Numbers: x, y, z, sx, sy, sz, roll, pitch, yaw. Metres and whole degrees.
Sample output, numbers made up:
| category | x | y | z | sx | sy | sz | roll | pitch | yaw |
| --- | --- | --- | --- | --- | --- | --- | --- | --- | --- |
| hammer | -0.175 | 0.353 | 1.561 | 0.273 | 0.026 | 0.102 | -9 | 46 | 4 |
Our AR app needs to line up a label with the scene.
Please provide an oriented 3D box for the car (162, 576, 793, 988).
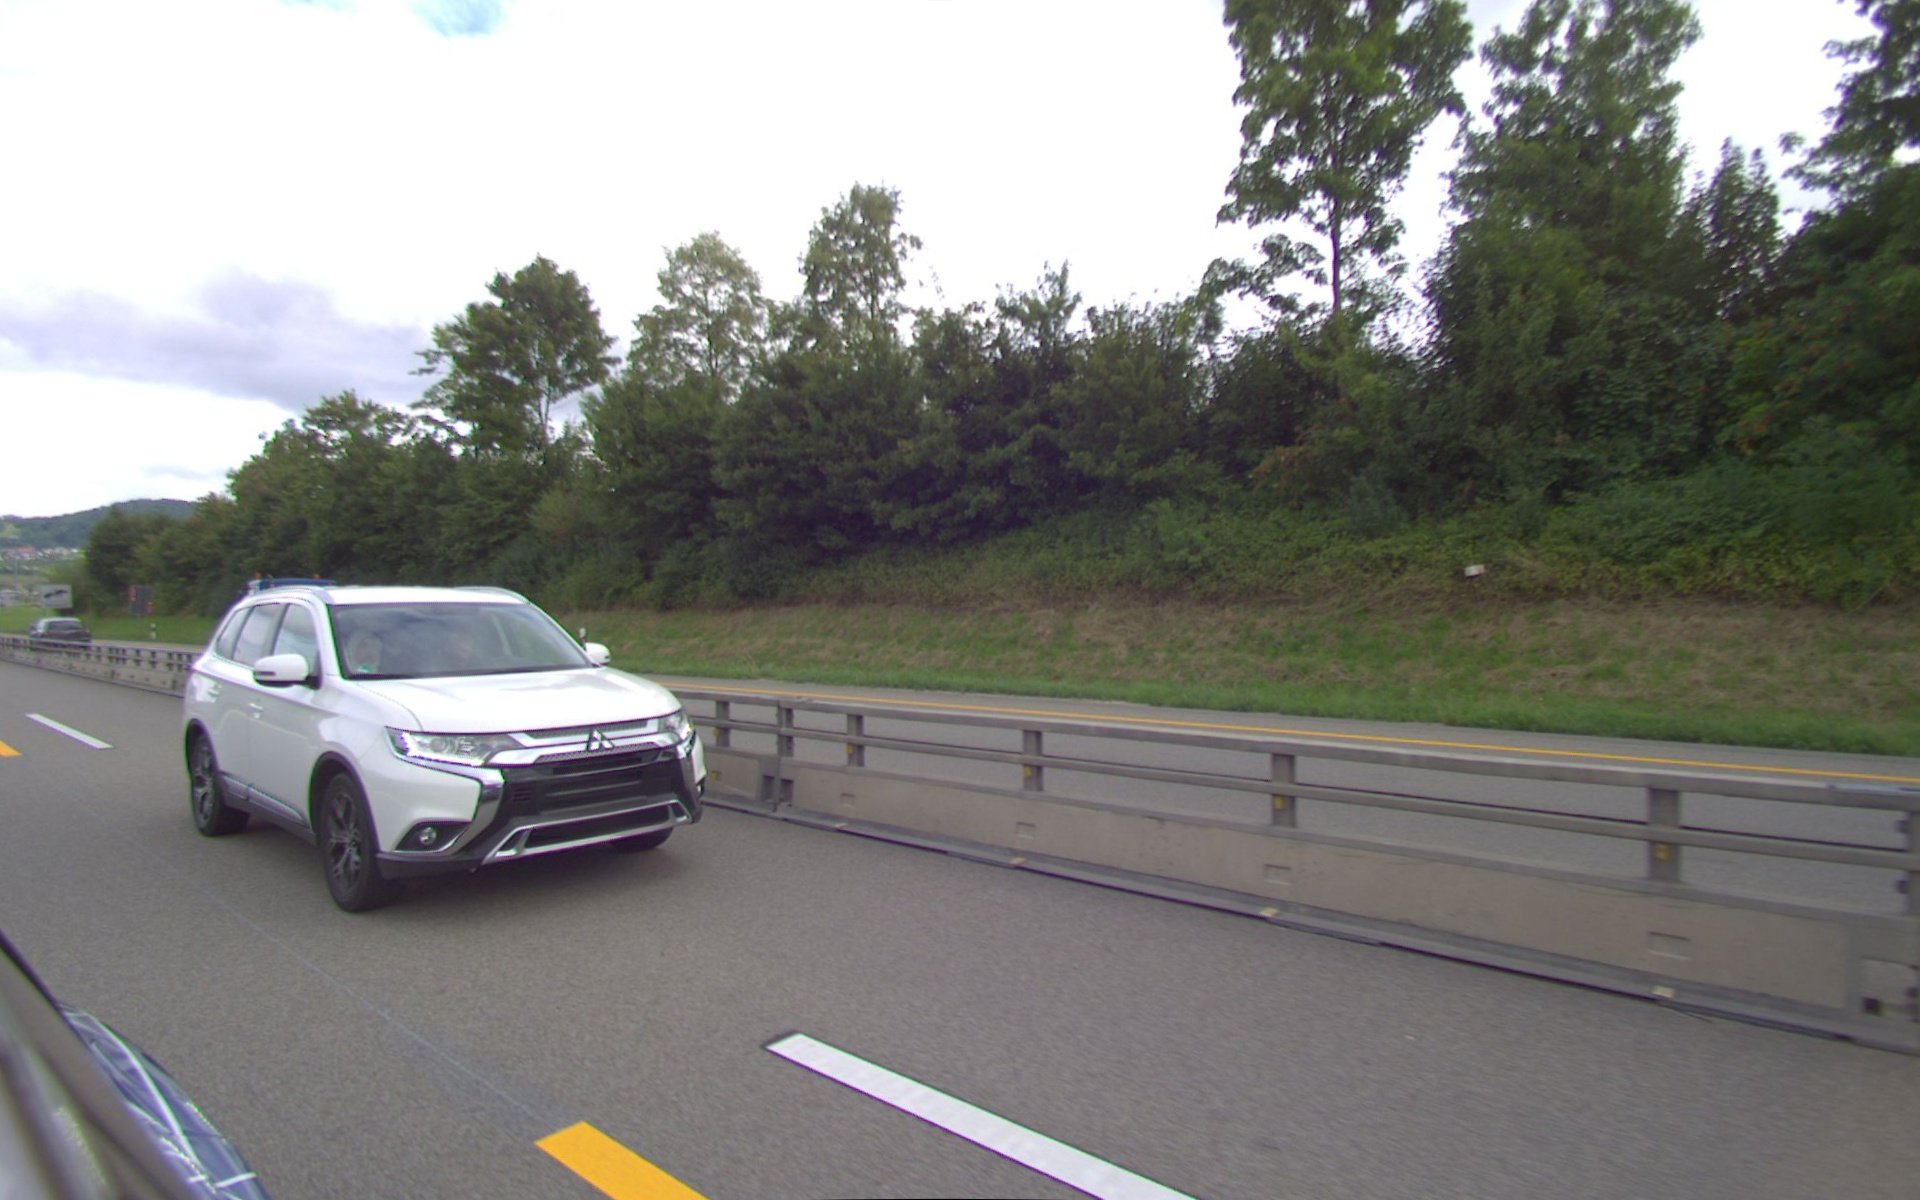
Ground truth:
| category | x | y | z | sx | sy | sz | roll | pitch | yaw |
| --- | --- | --- | --- | --- | --- | --- | --- | --- | --- |
| car | -3.272 | 0.771 | 6.330 | 4.606 | 1.640 | 1.972 | -1 | -1 | 42 |

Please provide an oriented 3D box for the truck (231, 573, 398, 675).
| category | x | y | z | sx | sy | sz | roll | pitch | yaw |
| --- | --- | --- | --- | --- | --- | --- | --- | --- | --- |
| truck | -19.410 | 0.705 | 30.267 | 6.664 | 2.738 | 2.464 | -1 | -1 | 42 |

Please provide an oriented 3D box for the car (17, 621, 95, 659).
| category | x | y | z | sx | sy | sz | roll | pitch | yaw |
| --- | --- | --- | --- | --- | --- | --- | --- | --- | --- |
| car | -39.301 | 1.701 | 43.958 | 4.830 | 1.518 | 1.972 | -1 | 0 | 42 |
